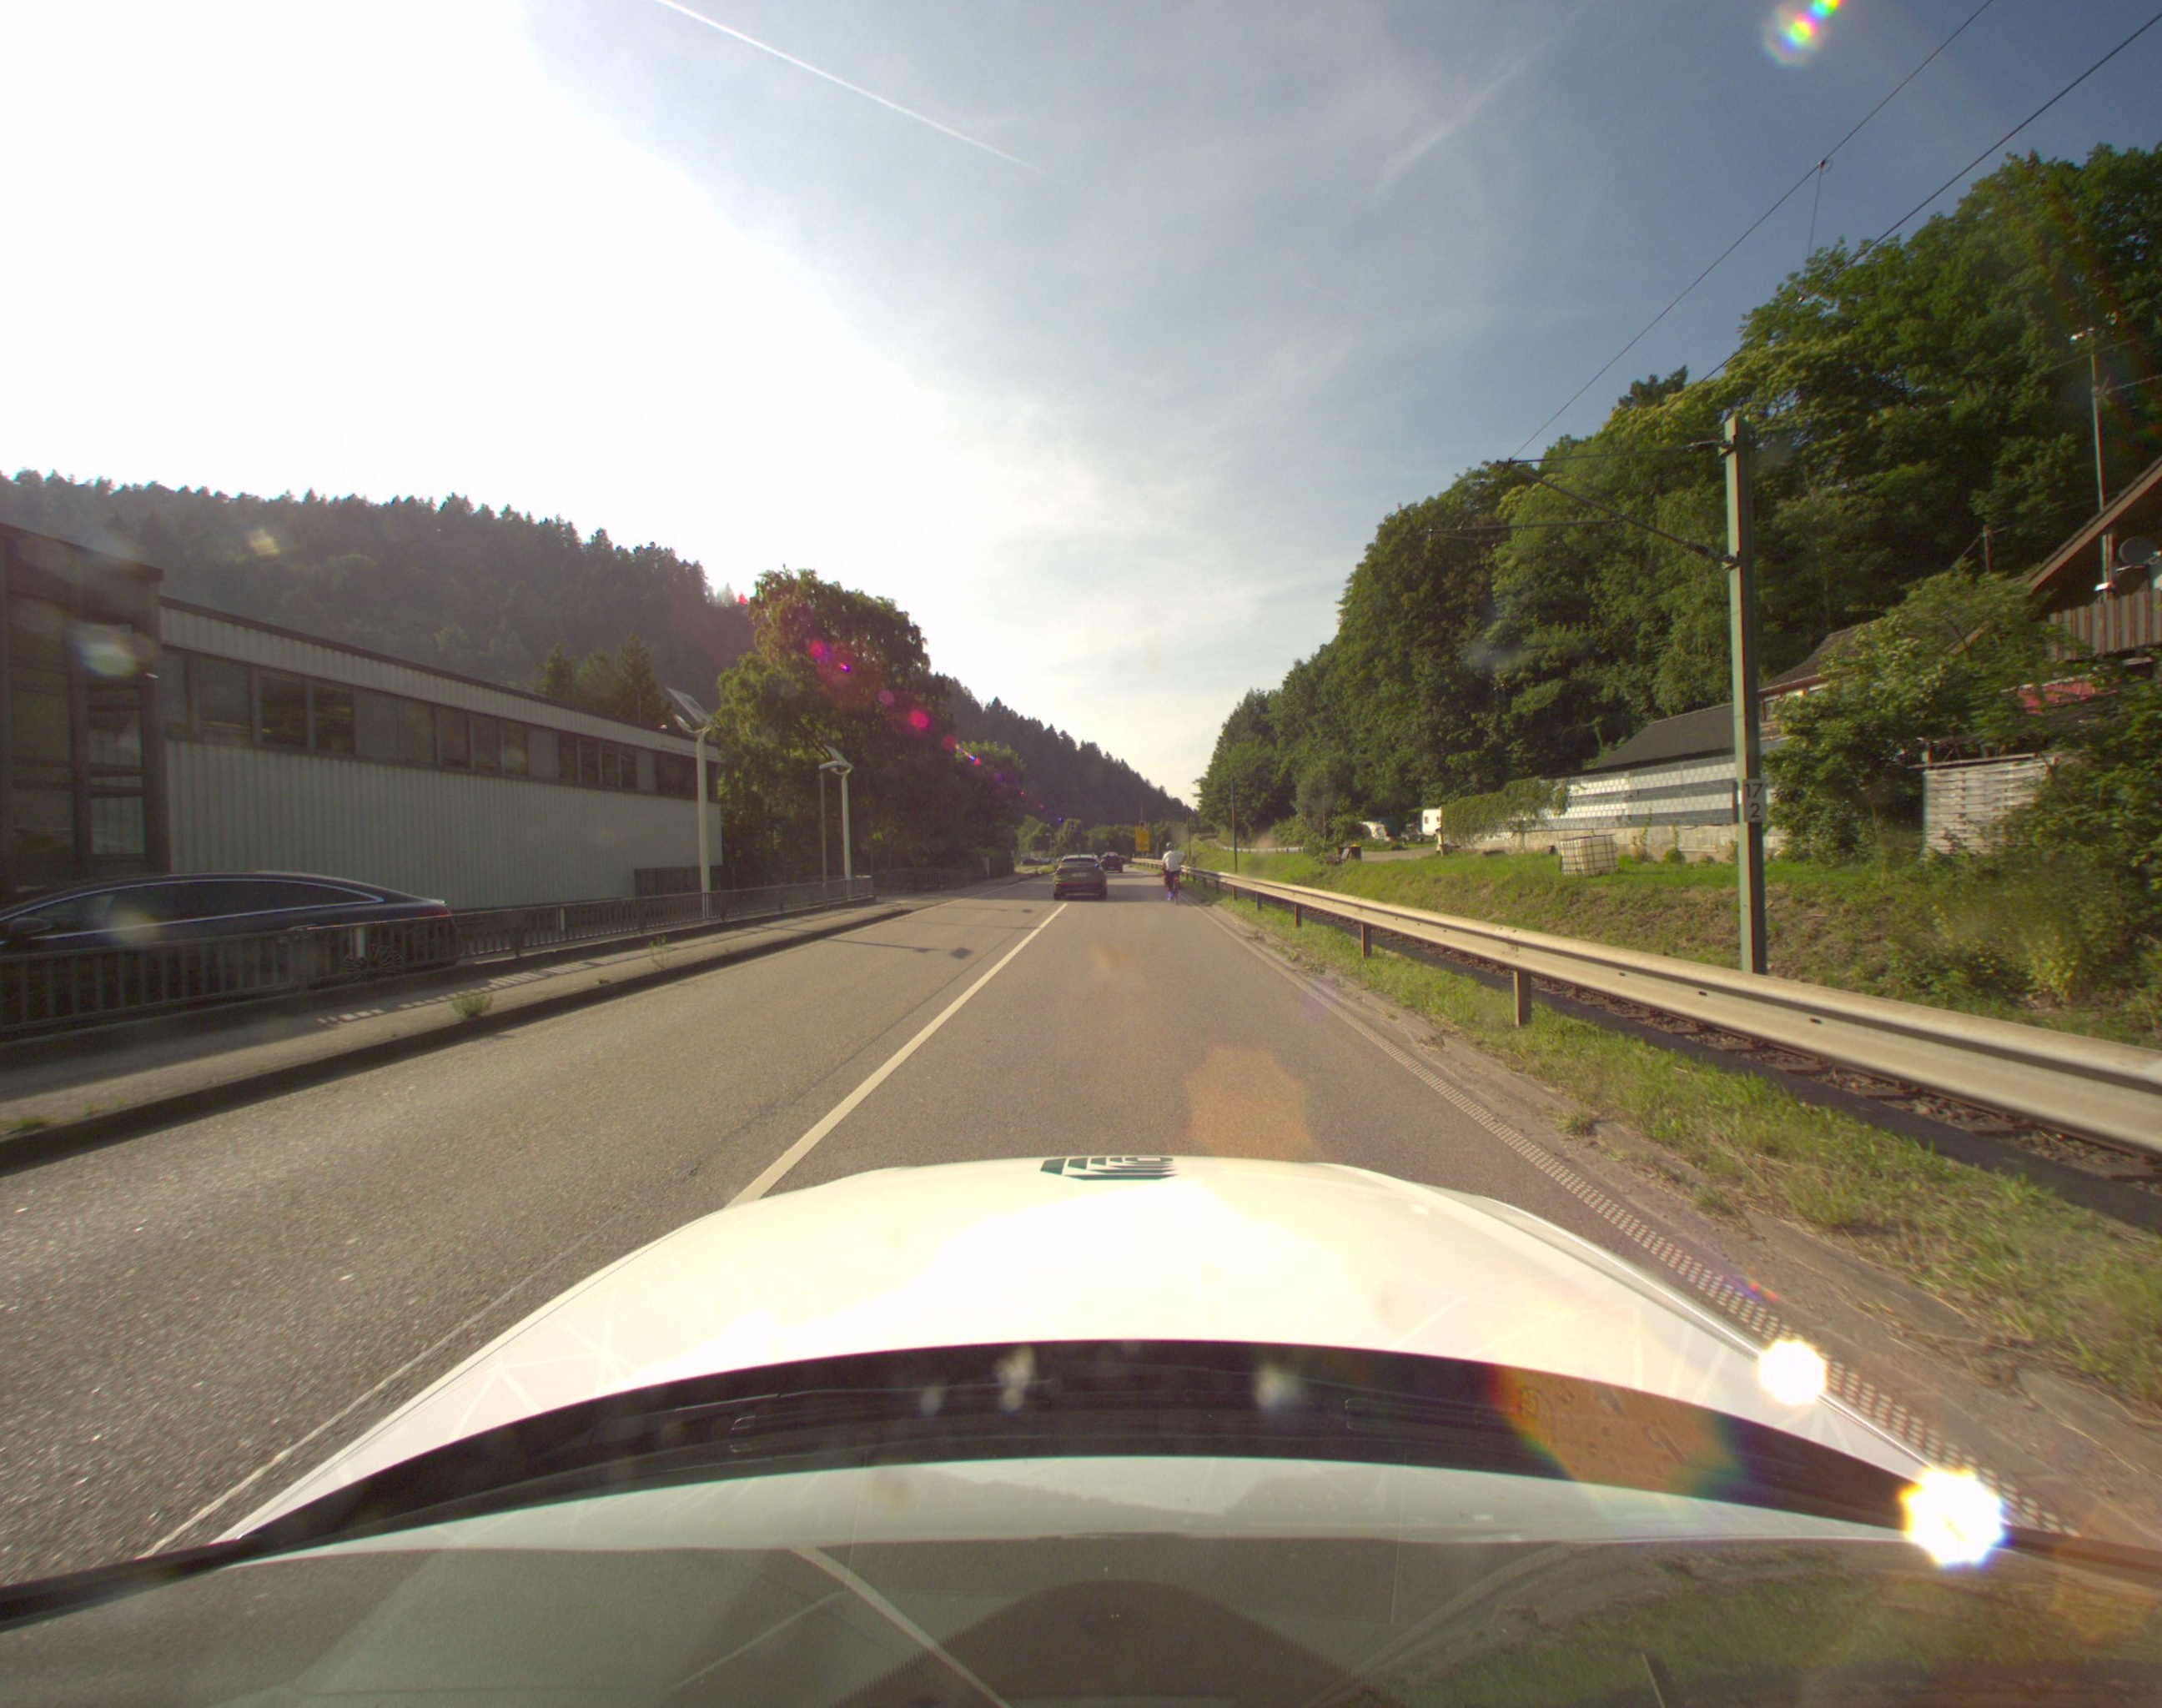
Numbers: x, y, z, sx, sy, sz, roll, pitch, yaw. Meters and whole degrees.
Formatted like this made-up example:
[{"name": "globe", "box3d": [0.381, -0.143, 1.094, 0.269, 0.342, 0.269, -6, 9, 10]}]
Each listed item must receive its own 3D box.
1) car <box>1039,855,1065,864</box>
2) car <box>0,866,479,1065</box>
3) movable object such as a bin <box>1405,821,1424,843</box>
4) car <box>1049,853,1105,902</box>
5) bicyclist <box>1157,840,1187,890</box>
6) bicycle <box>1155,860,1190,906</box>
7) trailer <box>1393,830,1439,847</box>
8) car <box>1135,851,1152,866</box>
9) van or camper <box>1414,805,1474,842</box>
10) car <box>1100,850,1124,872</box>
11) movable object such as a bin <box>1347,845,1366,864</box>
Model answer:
[{"name": "car", "box3d": [-4.995, 0.912, 139.904, 4.241, 1.433, 1.558, -2, 0, 3]}, {"name": "car", "box3d": [-9.240, 0.968, 8.056, 1.975, 1.562, 4.882, -2, -1, 28]}, {"name": "movable object such as a bin", "box3d": [28.270, -1.861, 69.016, 0.863, 1.802, 1.798, -2, 0, 1]}, {"name": "car", "box3d": [-0.060, 0.747, 28.066, 1.733, 1.508, 4.002, -1, 0, 2]}, {"name": "bicyclist", "box3d": [2.664, 0.321, 23.927, 0.779, 1.412, 0.675, -2, 0, 1]}, {"name": "bicycle", "box3d": [2.677, 0.827, 24.026, 0.808, 1.250, 2.123, -2, 0, 1]}, {"name": "trailer", "box3d": [25.675, -1.164, 62.529, 2.059, 1.192, 3.715, -1, 0, 1]}, {"name": "car", "box3d": [6.929, 0.513, 90.458, 1.733, 1.602, 4.002, -2, 0, 2]}, {"name": "van or camper", "box3d": [28.278, -2.340, 63.619, 2.183, 2.642, 5.774, -1, 0, 1]}, {"name": "car", "box3d": [2.398, 0.540, 62.852, 1.733, 1.602, 4.002, -1, 0, 2]}, {"name": "movable object such as a bin", "box3d": [16.397, 0.016, 48.484, 0.850, 1.107, 0.936, -2, 0, 8]}]
